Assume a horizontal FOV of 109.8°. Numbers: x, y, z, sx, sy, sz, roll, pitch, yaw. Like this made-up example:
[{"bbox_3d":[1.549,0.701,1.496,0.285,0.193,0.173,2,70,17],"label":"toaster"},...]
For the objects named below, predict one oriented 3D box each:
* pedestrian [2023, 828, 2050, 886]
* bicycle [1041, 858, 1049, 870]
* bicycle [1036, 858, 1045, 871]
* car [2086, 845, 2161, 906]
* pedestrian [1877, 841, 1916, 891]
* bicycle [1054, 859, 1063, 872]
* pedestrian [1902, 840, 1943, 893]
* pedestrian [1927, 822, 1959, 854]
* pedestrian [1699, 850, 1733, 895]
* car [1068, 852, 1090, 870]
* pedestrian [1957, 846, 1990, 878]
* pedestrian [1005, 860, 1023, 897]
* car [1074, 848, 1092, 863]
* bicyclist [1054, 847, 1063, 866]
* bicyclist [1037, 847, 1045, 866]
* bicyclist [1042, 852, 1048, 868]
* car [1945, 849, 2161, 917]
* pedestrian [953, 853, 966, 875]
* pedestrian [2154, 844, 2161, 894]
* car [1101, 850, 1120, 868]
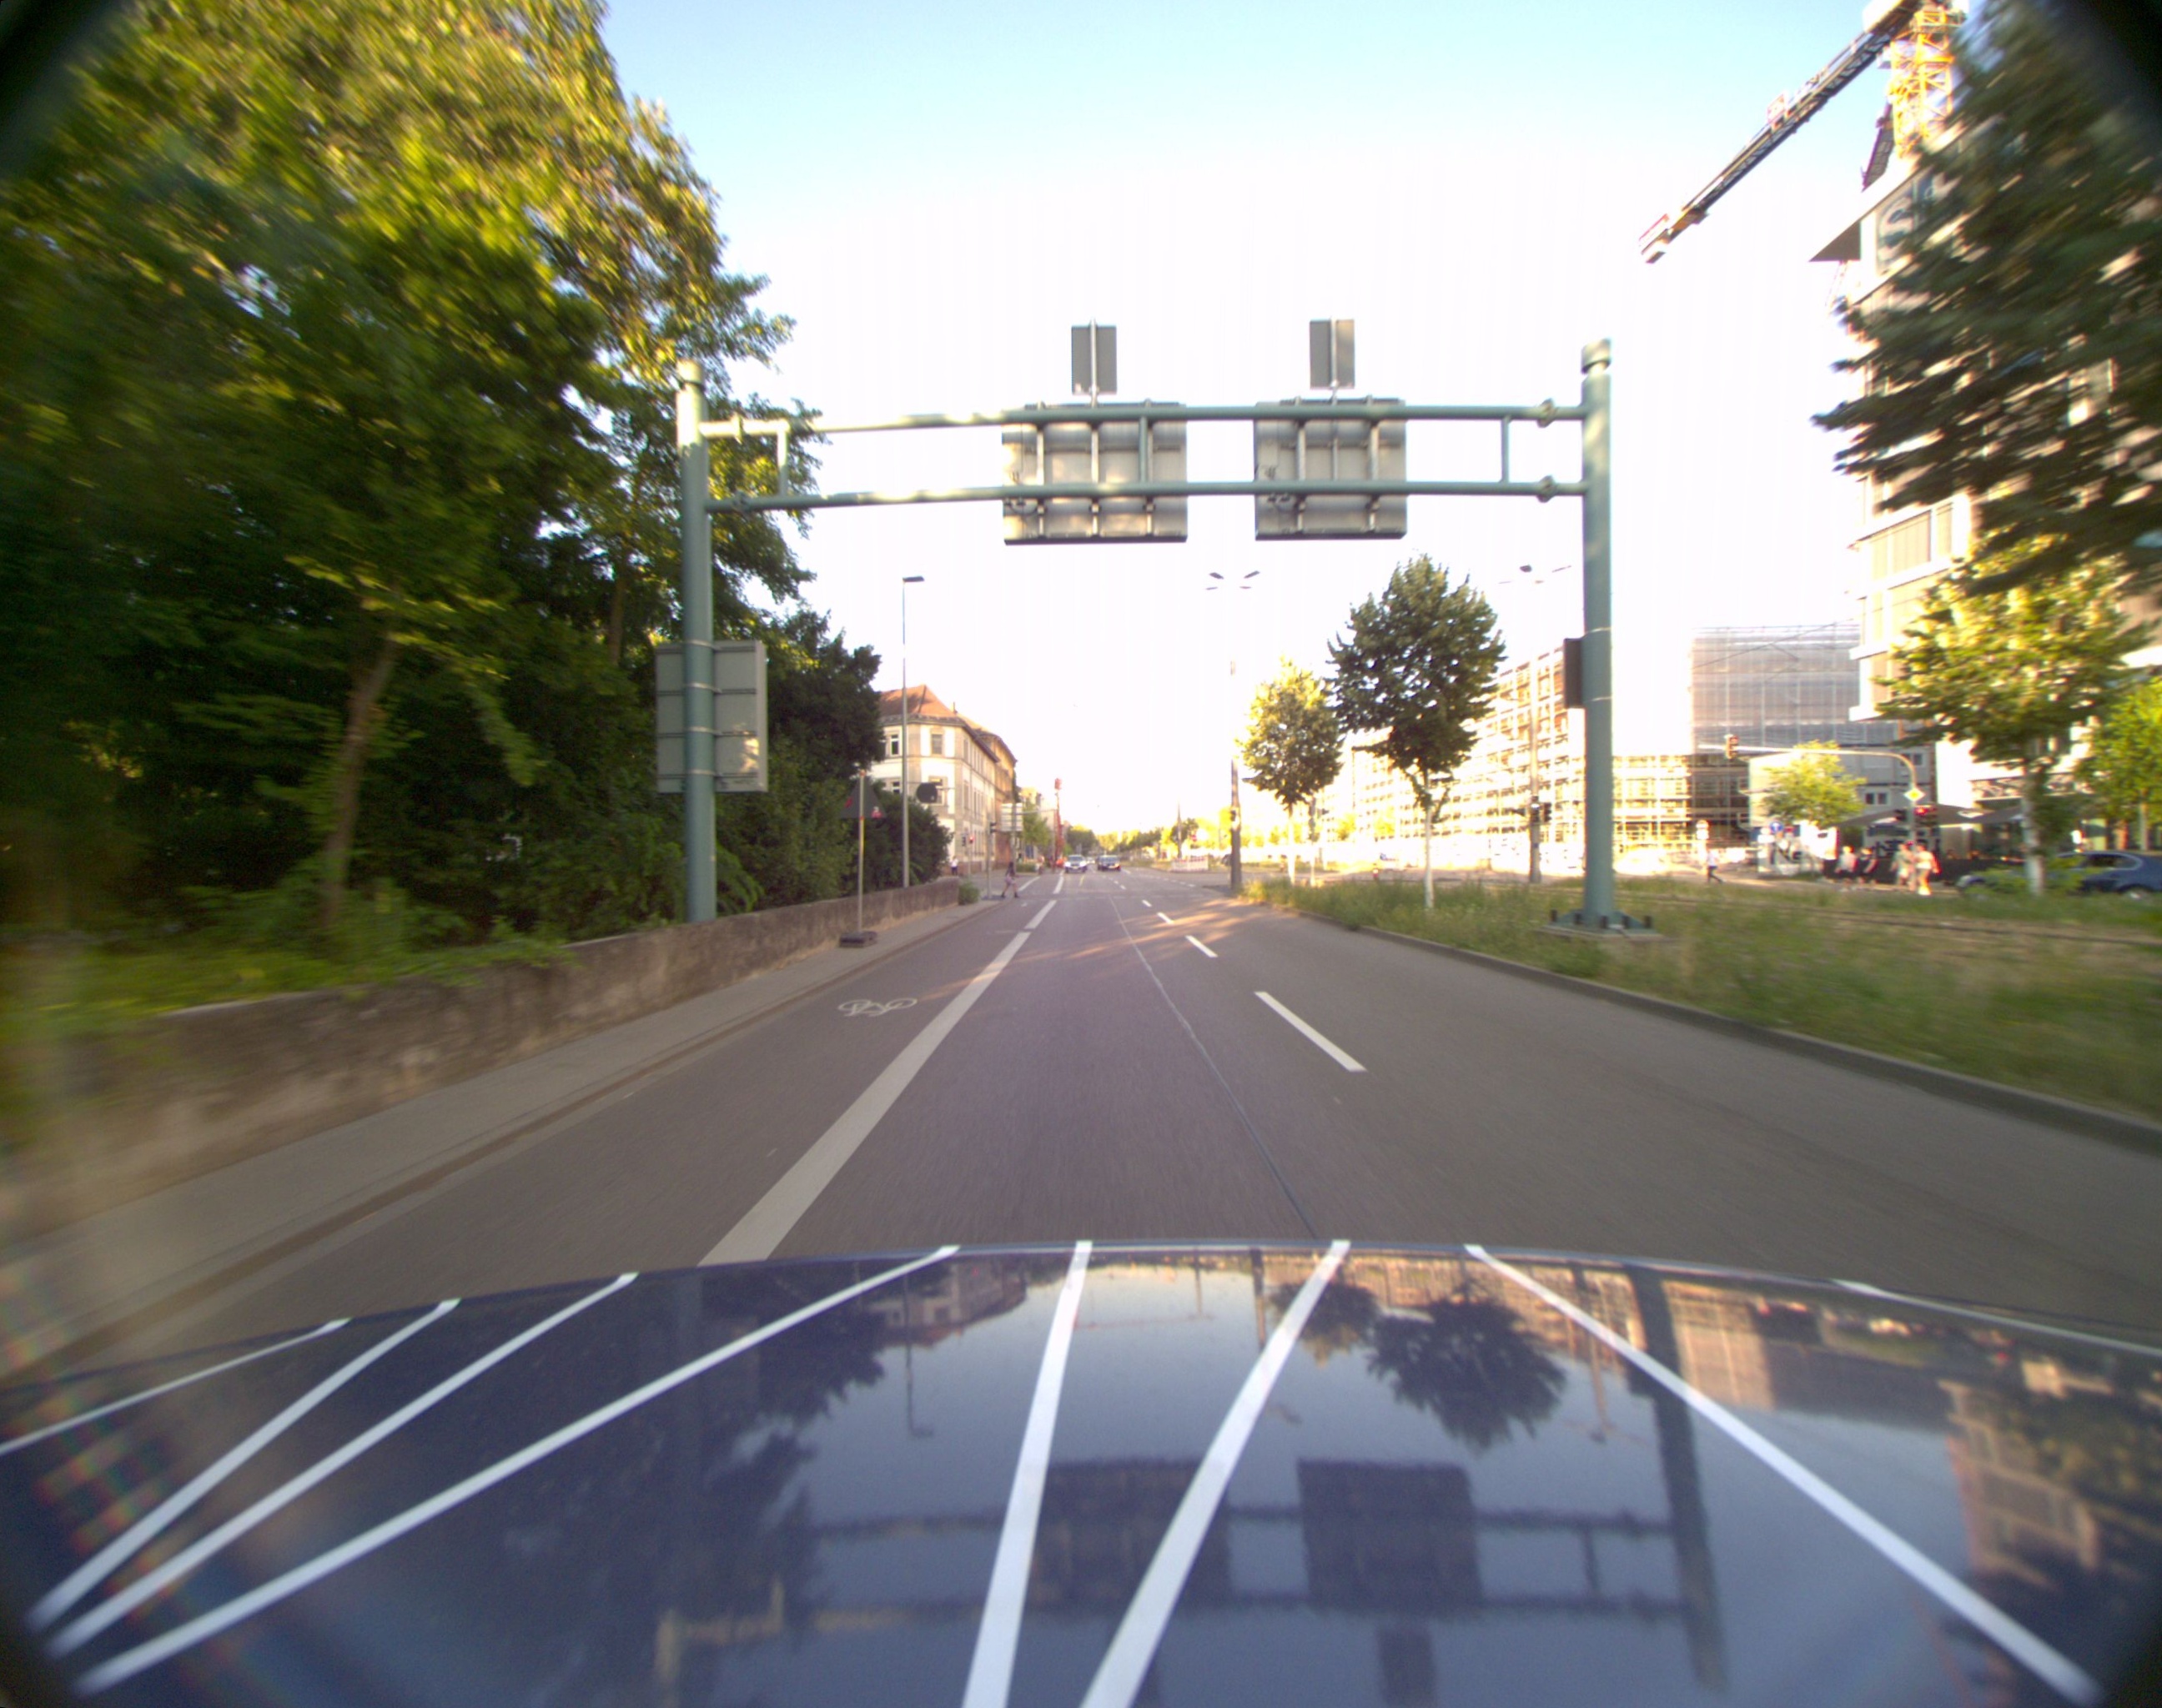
[{"bbox_3d":[33.330,0.090,26.506,0.501,2.002,0.553,0,1,43],"label":"pedestrian"},{"bbox_3d":[-3.339,0.954,70.984,0.517,1.045,2.044,0,0,3],"label":"bicycle"},{"bbox_3d":[-3.661,0.921,68.552,0.528,1.045,2.048,2,2,4],"label":"bicycle"},{"bbox_3d":[26.644,0.513,17.322,1.890,1.431,4.223,-1,0,0],"label":"car"},{"bbox_3d":[30.986,0.439,28.890,0.708,1.825,0.681,-3,2,2],"label":"pedestrian"},{"bbox_3d":[-1.998,1.010,68.622,0.721,1.045,2.043,-2,1,-1],"label":"bicycle"},{"bbox_3d":[31.075,0.450,28.069,0.680,1.913,0.708,-3,1,2],"label":"pedestrian"},{"bbox_3d":[39.675,-0.709,34.994,0.605,1.454,0.773,-1,1,1],"label":"pedestrian"},{"bbox_3d":[26.198,0.748,31.344,0.708,1.825,0.763,-3,1,-1],"label":"pedestrian"},{"bbox_3d":[-0.158,0.599,71.043,1.833,1.588,4.260,-1,0,2],"label":"car"},{"bbox_3d":[40.007,0.362,34.074,0.606,1.406,0.771,-1,1,-15],"label":"pedestrian"},{"bbox_3d":[-2.769,1.018,31.383,0.580,1.495,0.619,-1,1,7],"label":"pedestrian"},{"bbox_3d":[0.282,0.150,85.145,1.879,1.652,3.762,-1,0,2],"label":"car"},{"bbox_3d":[-2.032,0.216,68.851,0.705,1.692,0.768,-2,2,-1],"label":"bicyclist"},{"bbox_3d":[-3.626,0.241,68.789,0.509,1.692,0.768,2,2,4],"label":"bicyclist"},{"bbox_3d":[-3.356,0.559,70.606,0.512,1.539,0.692,0,1,4],"label":"bicyclist"},{"bbox_3d":[23.678,0.631,17.540,2.020,1.432,4.801,1,0,1],"label":"car"},{"bbox_3d":[-9.303,0.777,58.167,0.819,1.647,0.636,-1,1,-19],"label":"pedestrian"},{"bbox_3d":[34.468,0.465,23.800,0.680,1.594,0.708,-3,1,-4],"label":"pedestrian"},{"bbox_3d":[2.768,0.471,71.982,1.702,1.588,4.260,-1,0,2],"label":"car"}]
